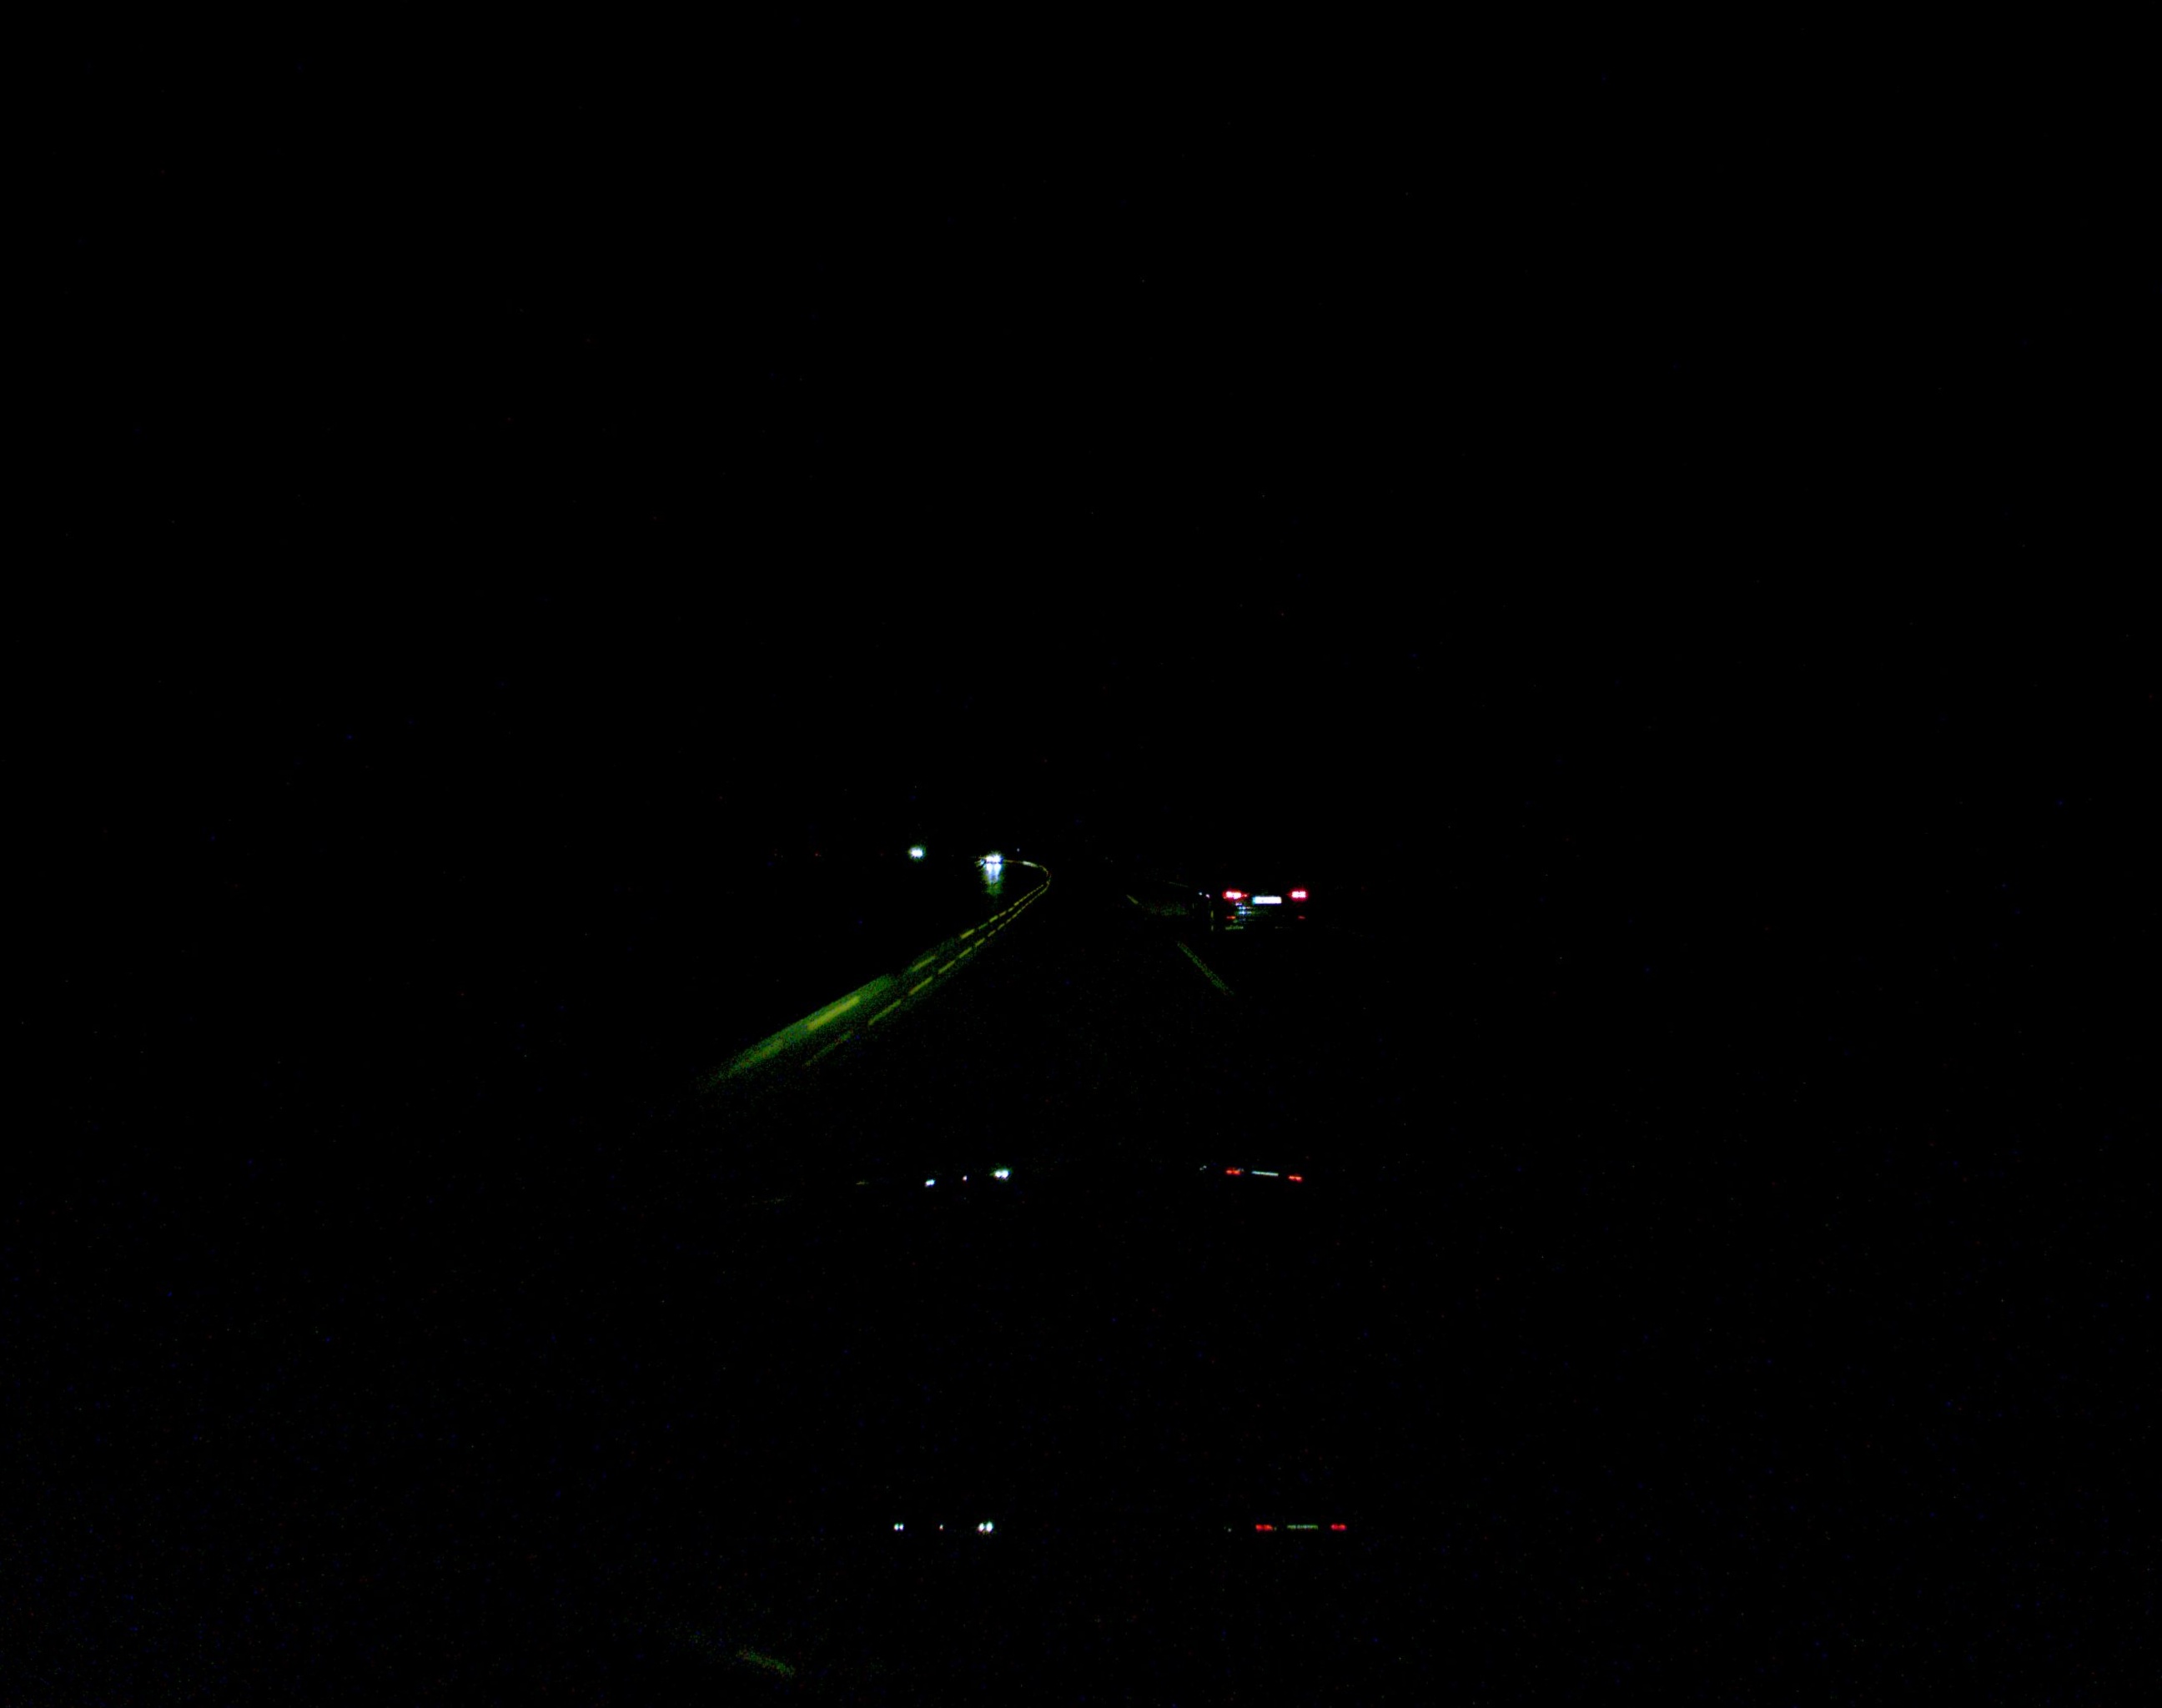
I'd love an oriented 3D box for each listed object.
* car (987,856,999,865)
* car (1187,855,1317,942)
[{"bbox_3d":[-15.529,1.145,143.826,2.012,1.639,4.848,0,-1,-8],"label":"car"},{"bbox_3d":[3.362,0.800,16.945,1.801,1.426,4.877,-1,1,2],"label":"car"}]
